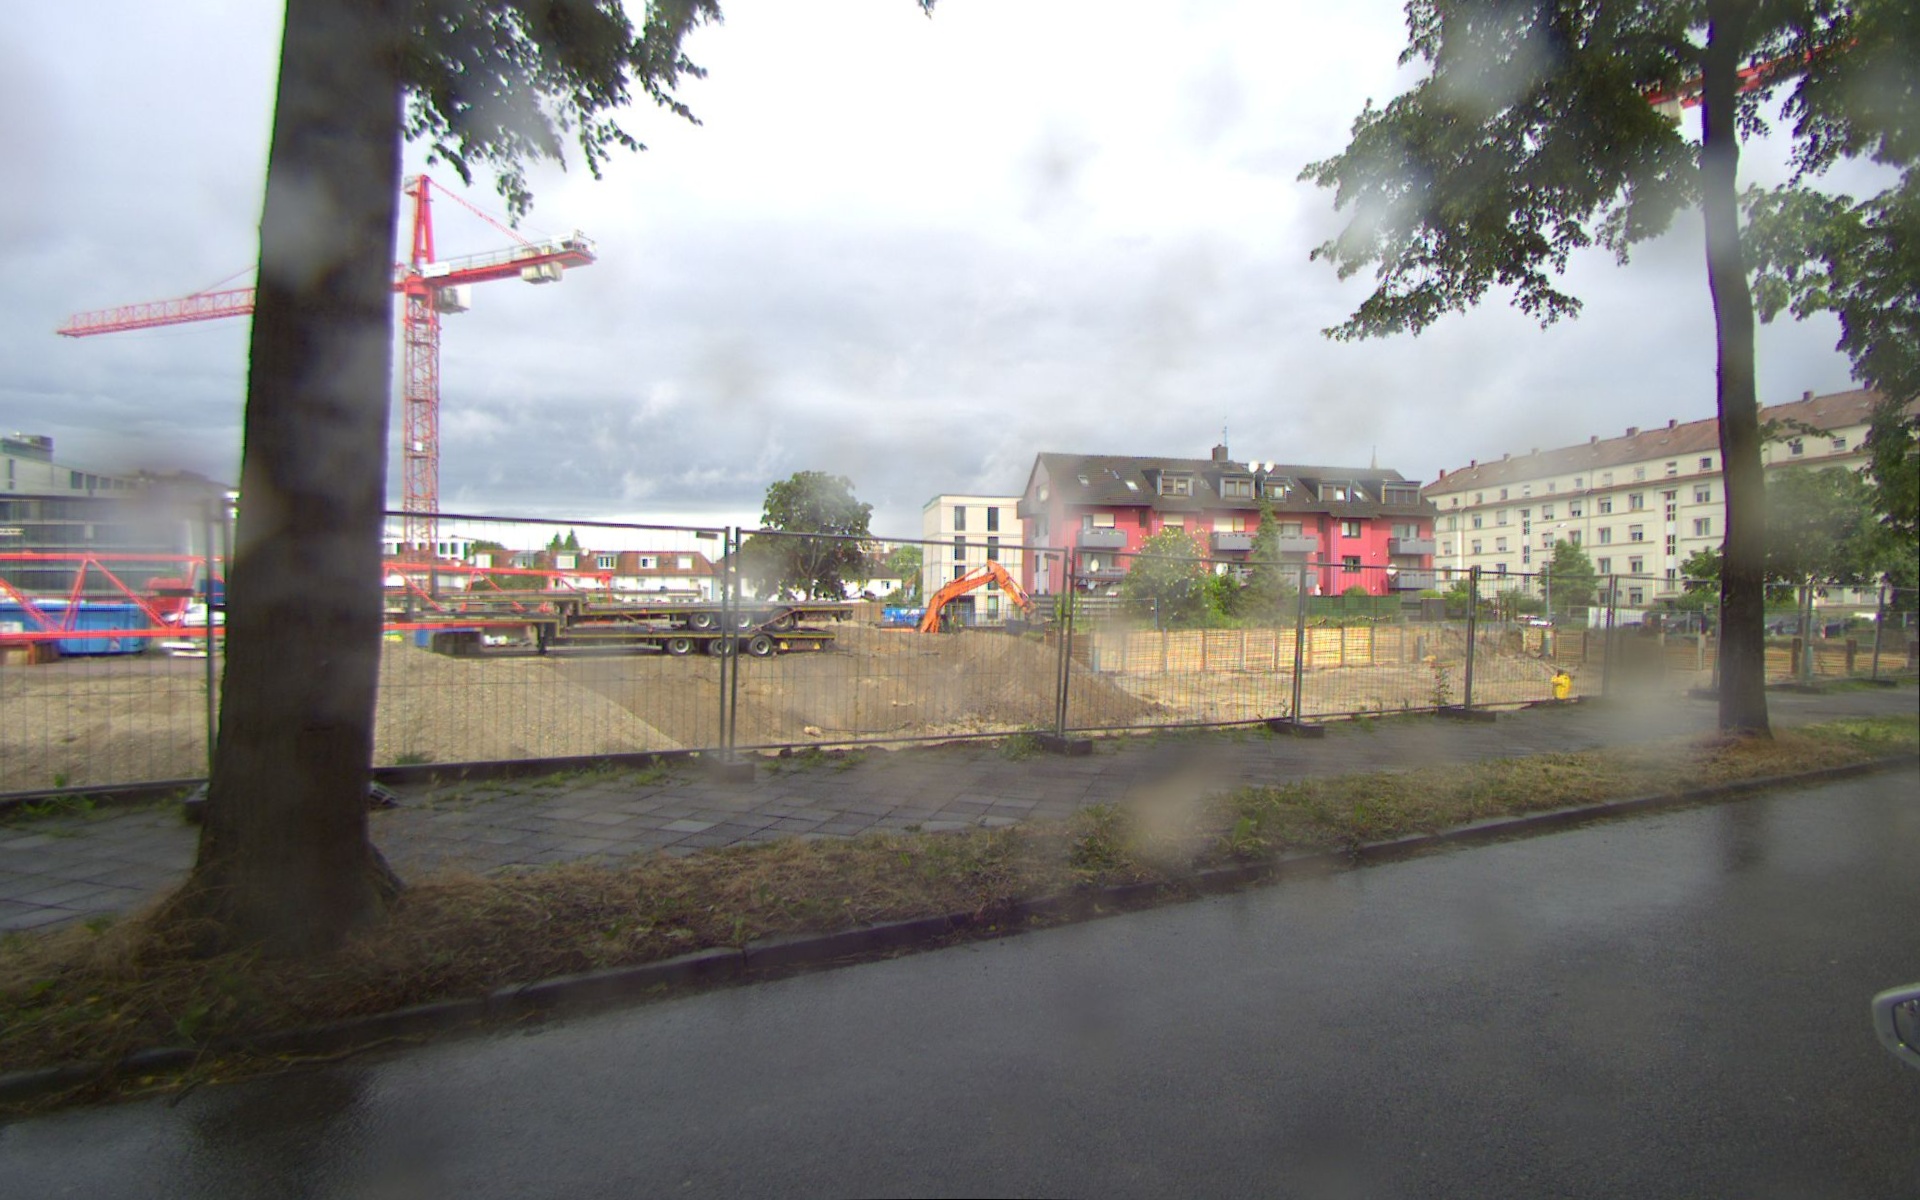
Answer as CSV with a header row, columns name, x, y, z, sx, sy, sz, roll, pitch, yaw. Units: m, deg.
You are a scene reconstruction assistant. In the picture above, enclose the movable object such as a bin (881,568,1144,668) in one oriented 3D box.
name,x,y,z,sx,sy,sz,roll,pitch,yaw
movable object such as a bin,3.107,1.061,65.885,16.429,6.125,6.885,0,0,-6
